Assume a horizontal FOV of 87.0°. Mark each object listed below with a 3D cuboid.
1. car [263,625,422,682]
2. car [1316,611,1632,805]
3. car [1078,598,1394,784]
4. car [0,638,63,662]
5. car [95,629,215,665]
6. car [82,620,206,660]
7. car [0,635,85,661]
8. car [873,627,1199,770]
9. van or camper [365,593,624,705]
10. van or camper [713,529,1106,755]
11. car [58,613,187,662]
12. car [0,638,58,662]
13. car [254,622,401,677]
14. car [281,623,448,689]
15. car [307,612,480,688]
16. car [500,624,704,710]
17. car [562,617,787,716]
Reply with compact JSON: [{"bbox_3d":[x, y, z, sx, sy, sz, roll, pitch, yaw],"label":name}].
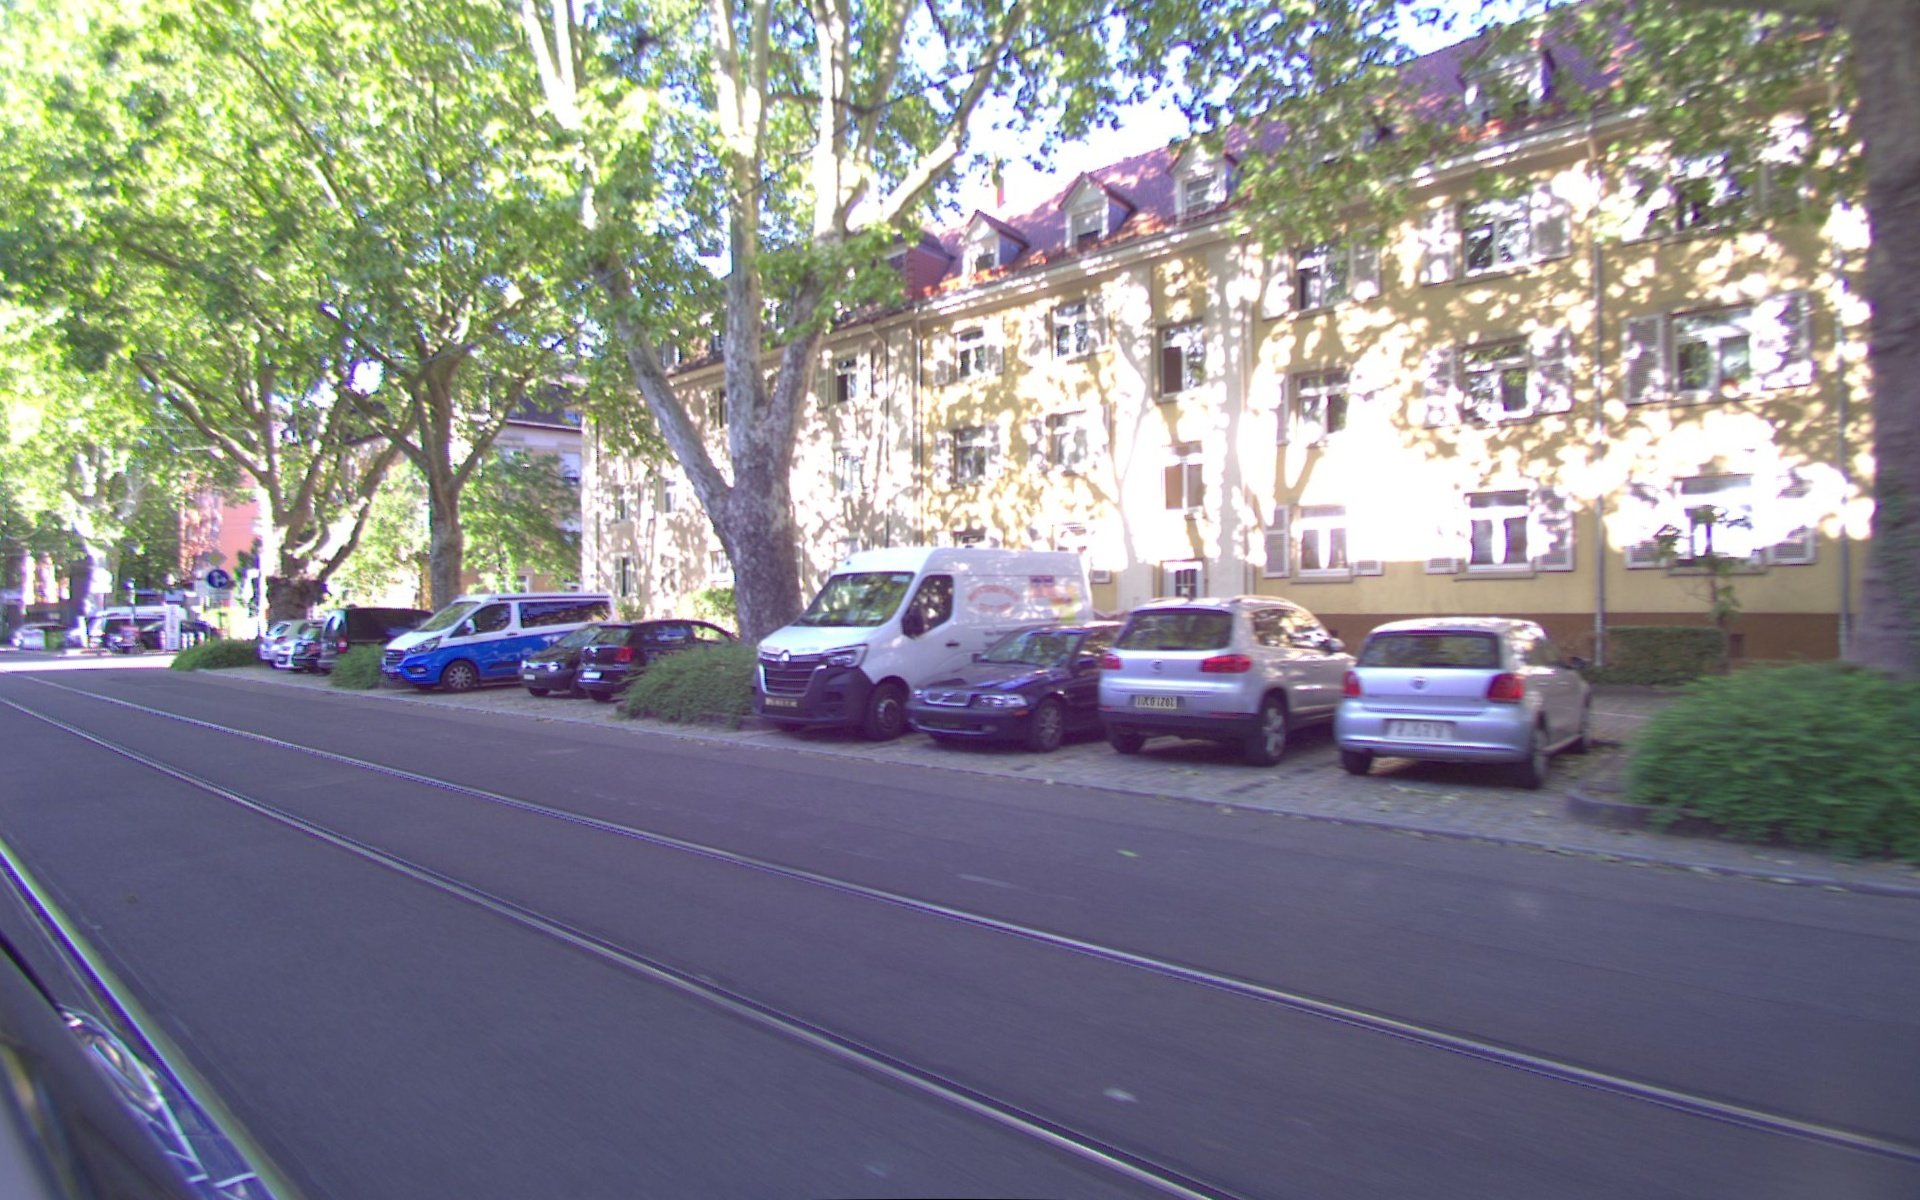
[{"bbox_3d":[-18.115,1.519,29.841,1.698,1.497,3.651,-1,-1,34],"label":"car"},{"bbox_3d":[5.168,0.895,9.933,1.861,1.509,3.806,-2,-2,41],"label":"car"},{"bbox_3d":[3.163,0.873,11.152,1.861,1.675,3.806,-2,-2,41],"label":"car"},{"bbox_3d":[-64.610,3.470,69.807,1.809,1.527,3.916,-3,-2,39],"label":"car"},{"bbox_3d":[-37.677,2.182,47.442,1.924,1.527,4.118,-3,-2,39],"label":"car"},{"bbox_3d":[-39.648,1.941,49.231,2.026,1.779,4.408,-3,-2,39],"label":"car"},{"bbox_3d":[-58.739,3.034,64.759,1.809,1.527,3.916,-3,-2,39],"label":"car"},{"bbox_3d":[1.080,1.042,12.231,1.752,1.409,4.219,-2,-2,41],"label":"car"},{"bbox_3d":[-10.151,0.980,22.369,2.118,2.206,4.770,-2,-1,40],"label":"van or camper"},{"bbox_3d":[-0.482,0.491,14.159,2.444,2.535,5.332,-2,-1,42],"label":"van or camper"},{"bbox_3d":[-43.989,1.943,53.239,2.026,2.416,4.956,-3,-2,39],"label":"car"},{"bbox_3d":[-66.308,3.541,71.318,1.809,1.527,3.916,-3,-2,39],"label":"car"},{"bbox_3d":[-19.755,1.501,31.682,3.638,1.565,1.705,0,-1,-43],"label":"car"},{"bbox_3d":[-16.595,1.510,28.322,1.796,1.636,3.649,-2,-1,36],"label":"car"},{"bbox_3d":[-14.890,1.258,26.710,1.703,1.828,3.644,-2,-1,40],"label":"car"},{"bbox_3d":[-6.988,1.247,20.044,1.692,1.471,3.500,-1,-1,35],"label":"car"},{"bbox_3d":[-5.121,1.129,18.439,1.613,1.577,3.642,-2,-1,42],"label":"car"}]
